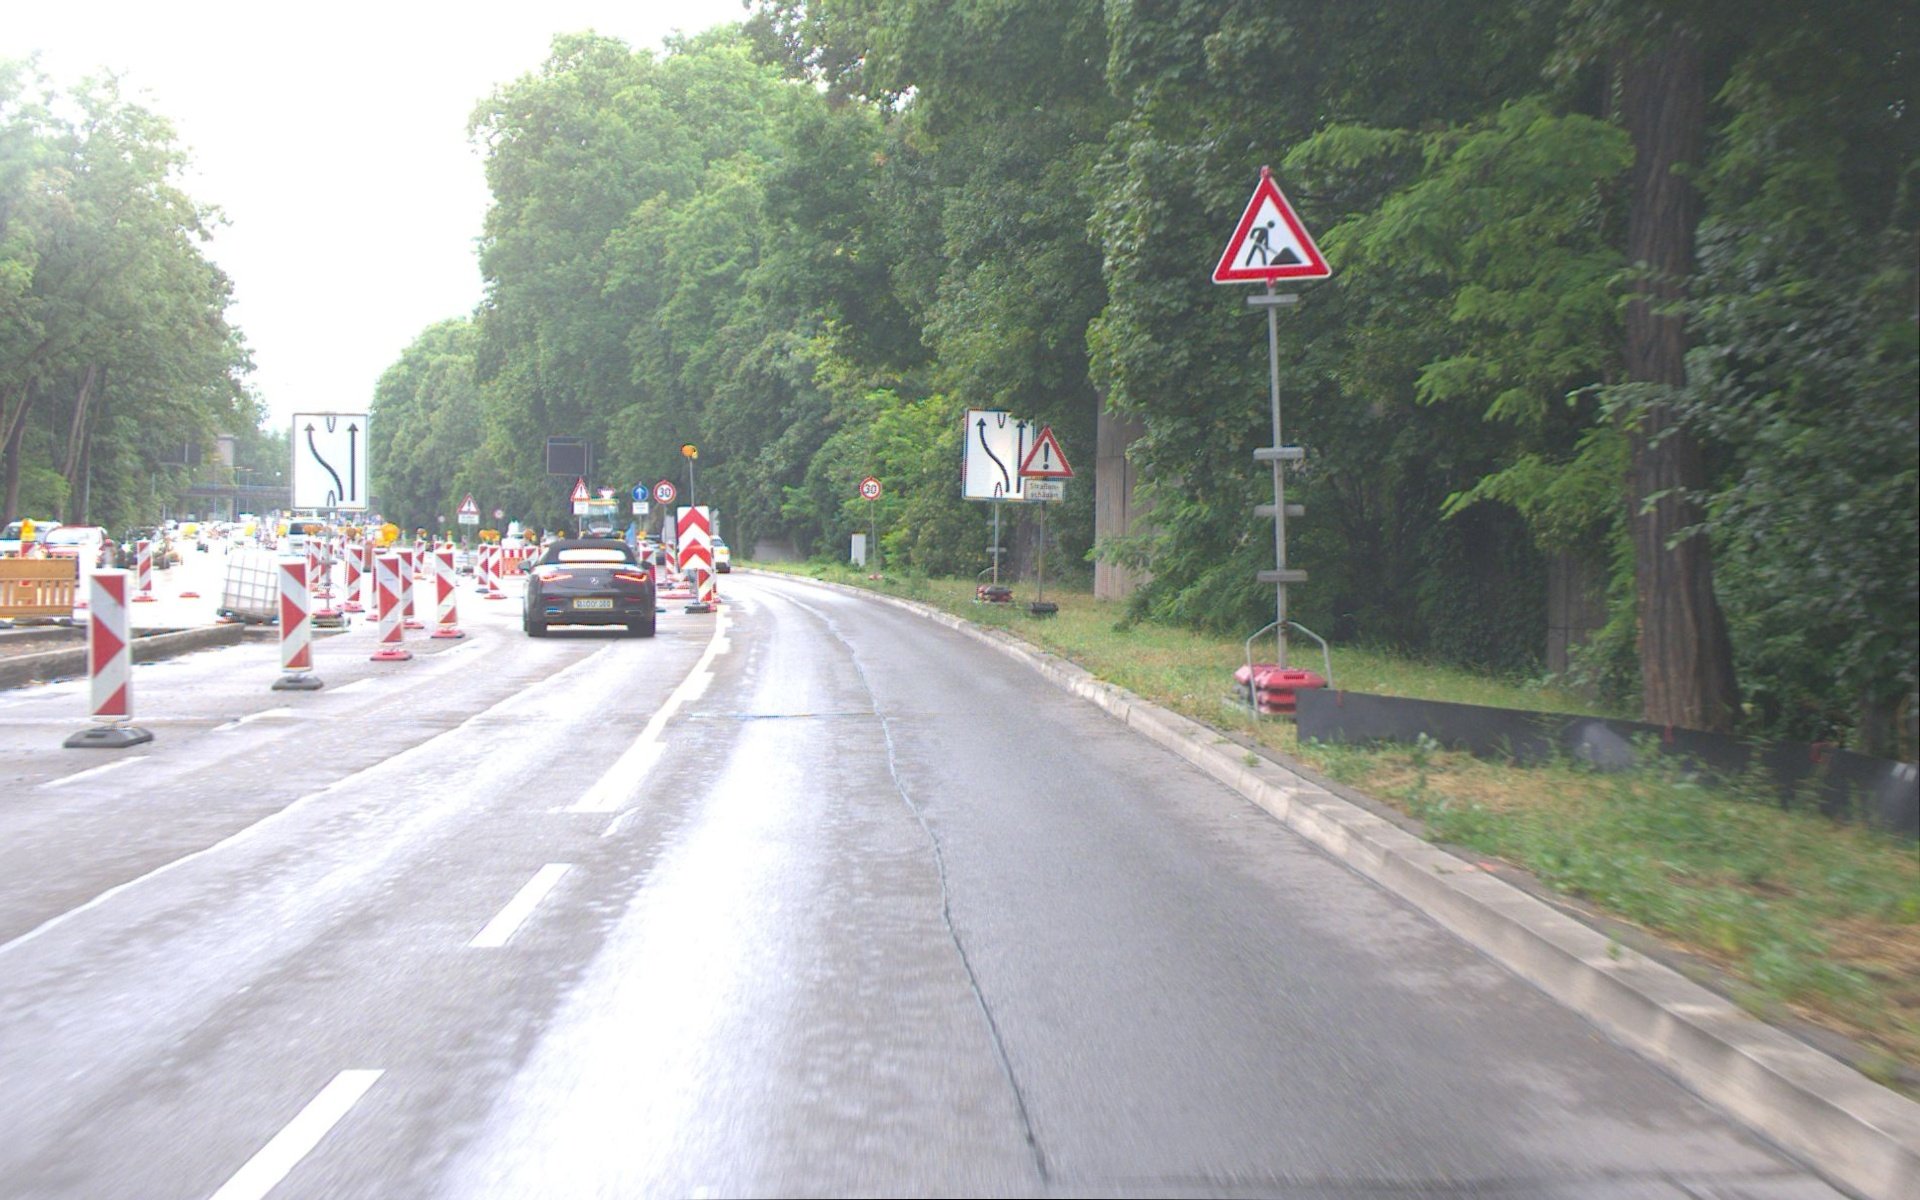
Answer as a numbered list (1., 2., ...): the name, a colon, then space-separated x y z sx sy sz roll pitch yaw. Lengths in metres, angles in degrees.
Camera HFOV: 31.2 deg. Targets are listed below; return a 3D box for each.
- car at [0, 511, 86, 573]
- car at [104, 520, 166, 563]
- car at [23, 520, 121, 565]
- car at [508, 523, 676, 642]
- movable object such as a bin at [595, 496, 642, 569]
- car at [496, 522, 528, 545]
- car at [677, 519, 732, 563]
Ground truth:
1. car: -27.066 -1.691 100.596 1.844 1.717 4.720 -3 1 -2
2. car: -32.090 -2.289 133.833 1.635 1.641 4.200 0 1 -4
3. car: -23.608 -1.535 91.501 1.605 1.148 4.283 1 1 -2
4. car: -5.398 -0.299 50.912 1.862 1.486 4.000 2 3 2
5. movable object such as a bin: -13.590 -2.683 136.738 1.746 2.857 3.535 0 1 -8
6. car: -28.966 -4.299 222.060 1.756 1.339 4.002 2 2 -11
7. car: -9.844 -2.290 132.253 1.913 1.592 4.835 1 2 -6
